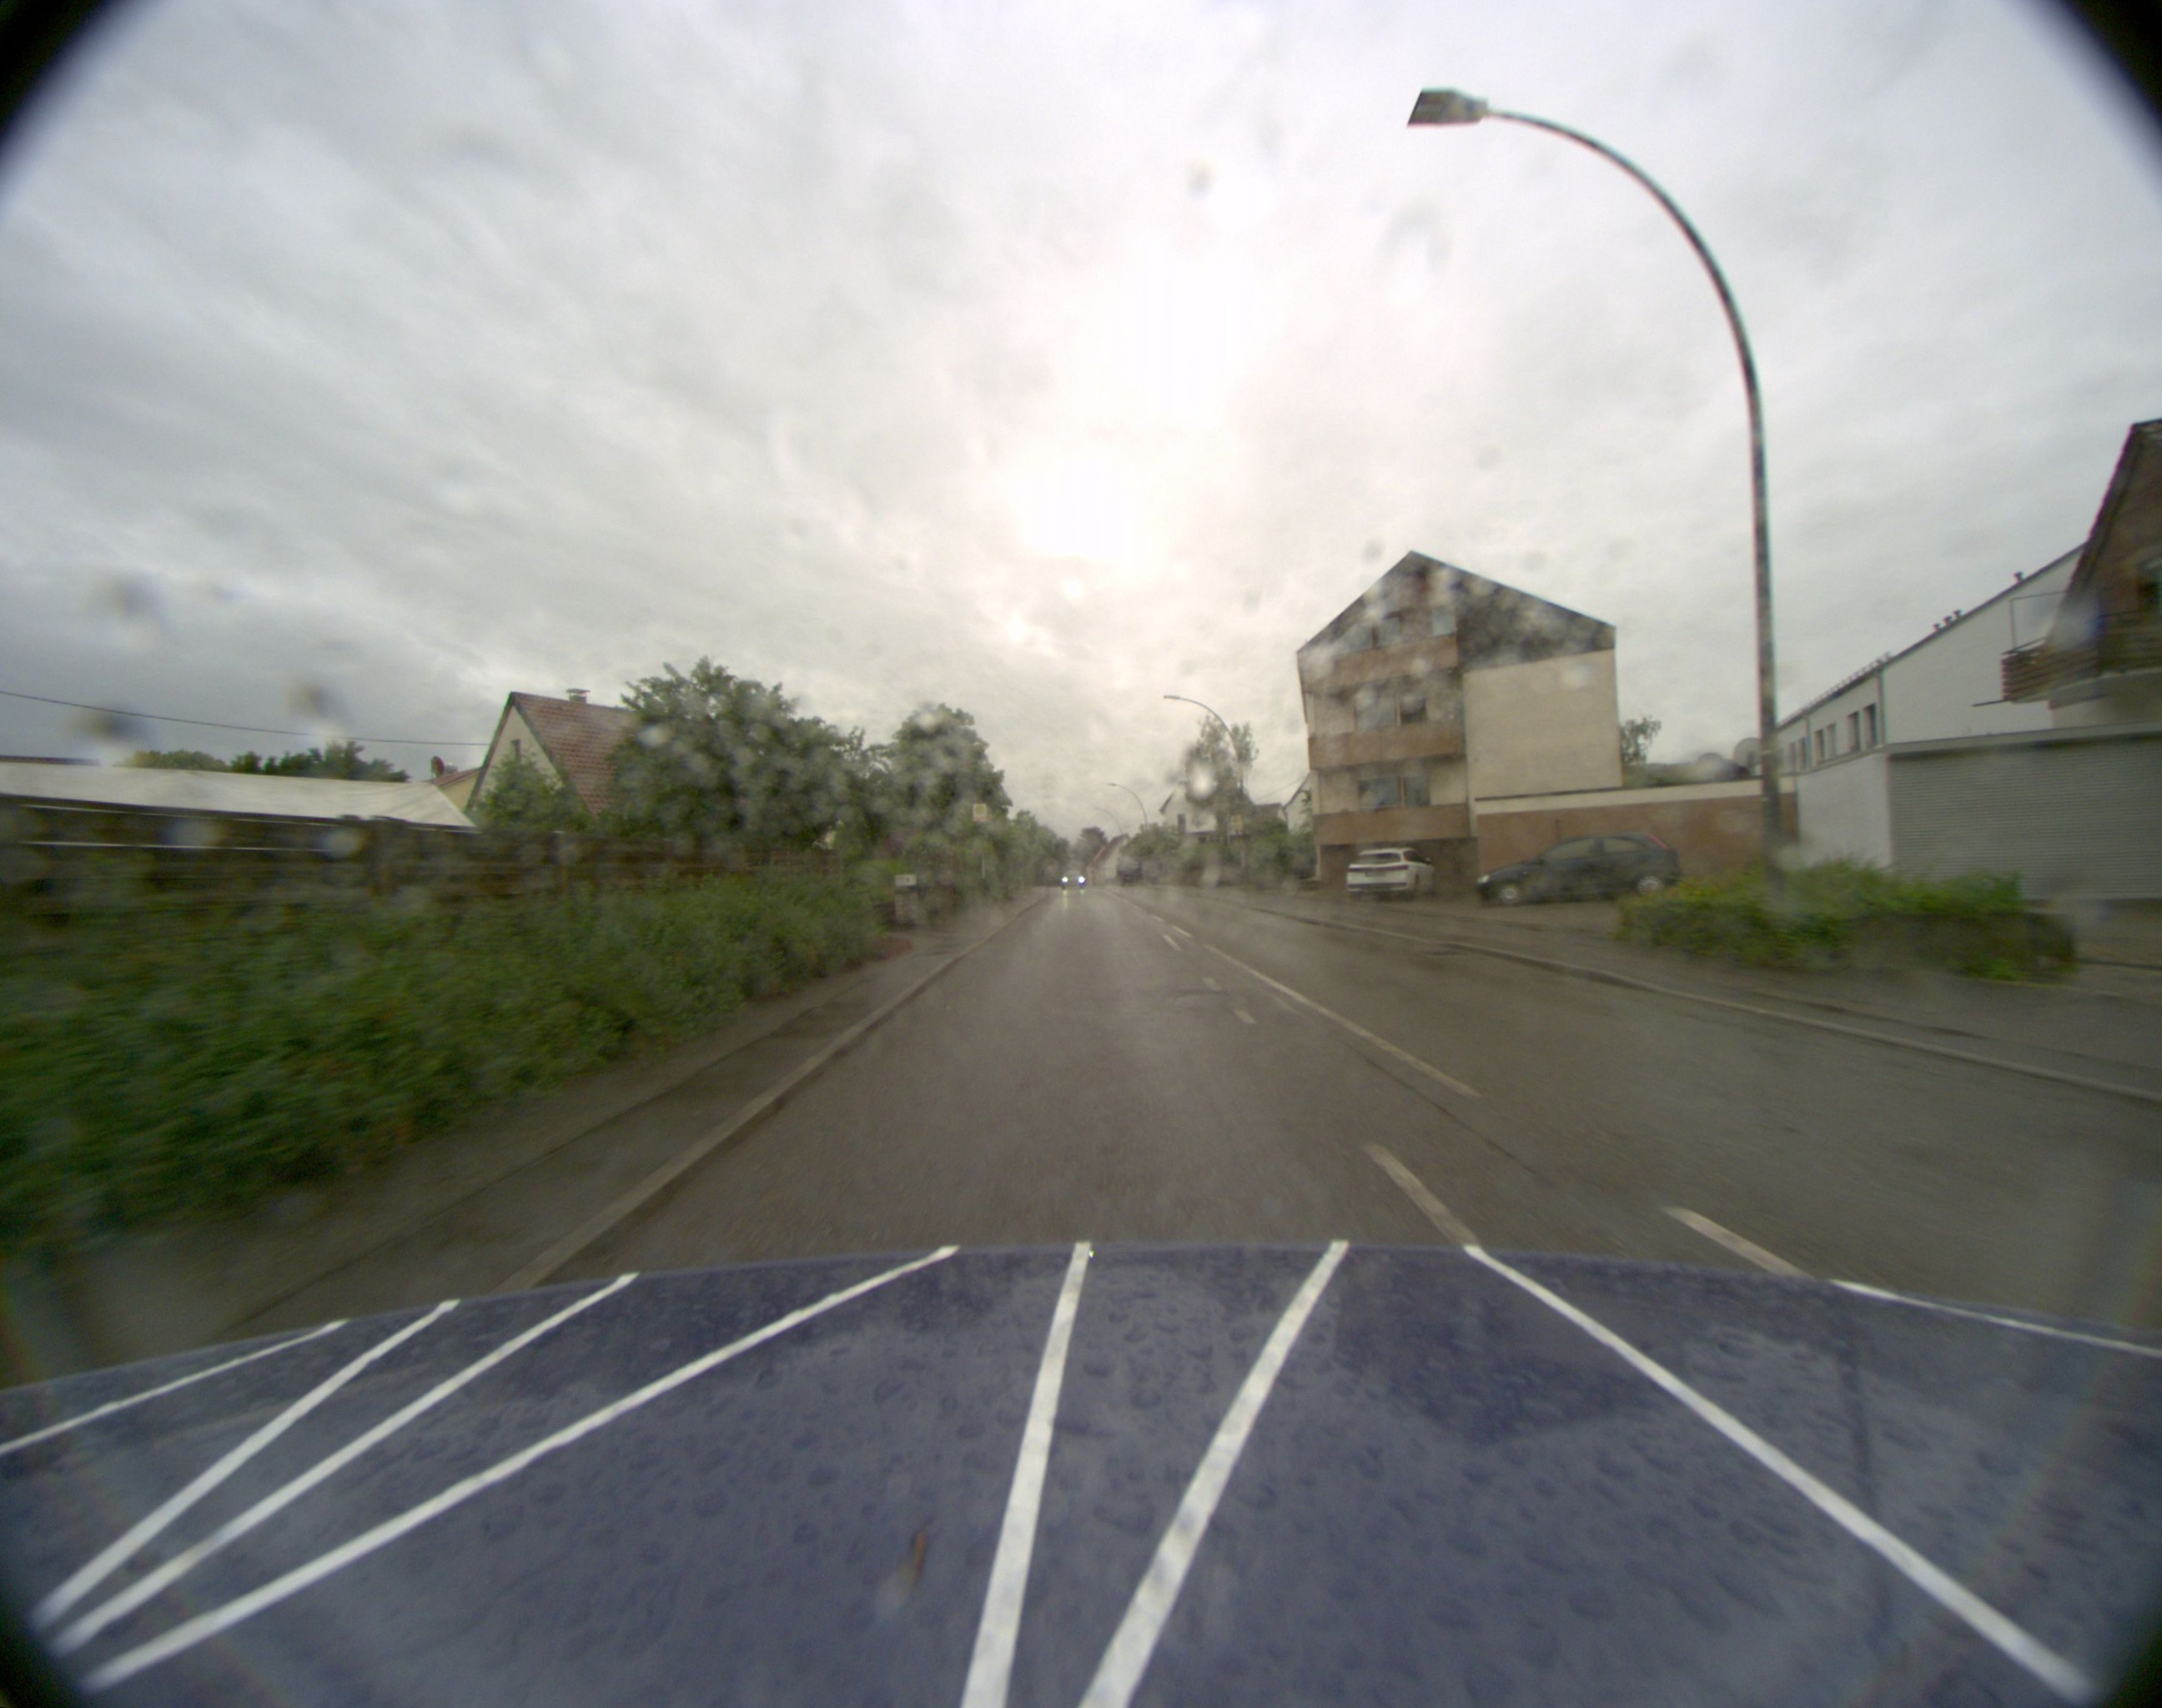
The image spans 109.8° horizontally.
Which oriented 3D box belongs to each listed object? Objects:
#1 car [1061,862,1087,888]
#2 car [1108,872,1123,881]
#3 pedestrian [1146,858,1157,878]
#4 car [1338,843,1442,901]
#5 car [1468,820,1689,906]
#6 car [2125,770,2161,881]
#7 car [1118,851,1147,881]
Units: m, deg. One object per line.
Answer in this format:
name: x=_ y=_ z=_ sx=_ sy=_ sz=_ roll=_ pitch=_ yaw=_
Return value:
car: x=-0.595 y=1.779 z=63.787 sx=1.998 sy=2.001 sz=4.001 roll=-3 pitch=-2 yaw=0
car: x=6.381 y=4.212 z=139.866 sx=1.904 sy=1.432 sz=3.834 roll=-5 pitch=-3 yaw=14
pedestrian: x=6.741 y=1.299 z=72.788 sx=0.679 sy=1.874 sz=0.811 roll=-2 pitch=0 yaw=29
car: x=9.347 y=0.476 z=22.714 sx=1.902 sy=1.468 sz=4.891 roll=-5 pitch=-2 yaw=33
car: x=10.754 y=0.215 z=16.561 sx=3.765 sy=1.499 sz=1.705 roll=-6 pitch=-1 yaw=38
car: x=16.451 y=-0.368 z=9.600 sx=1.995 sy=1.652 sz=4.004 roll=-2 pitch=3 yaw=22
car: x=5.013 y=1.194 z=74.722 sx=2.100 sy=2.633 sz=5.919 roll=-4 pitch=-1 yaw=-1
